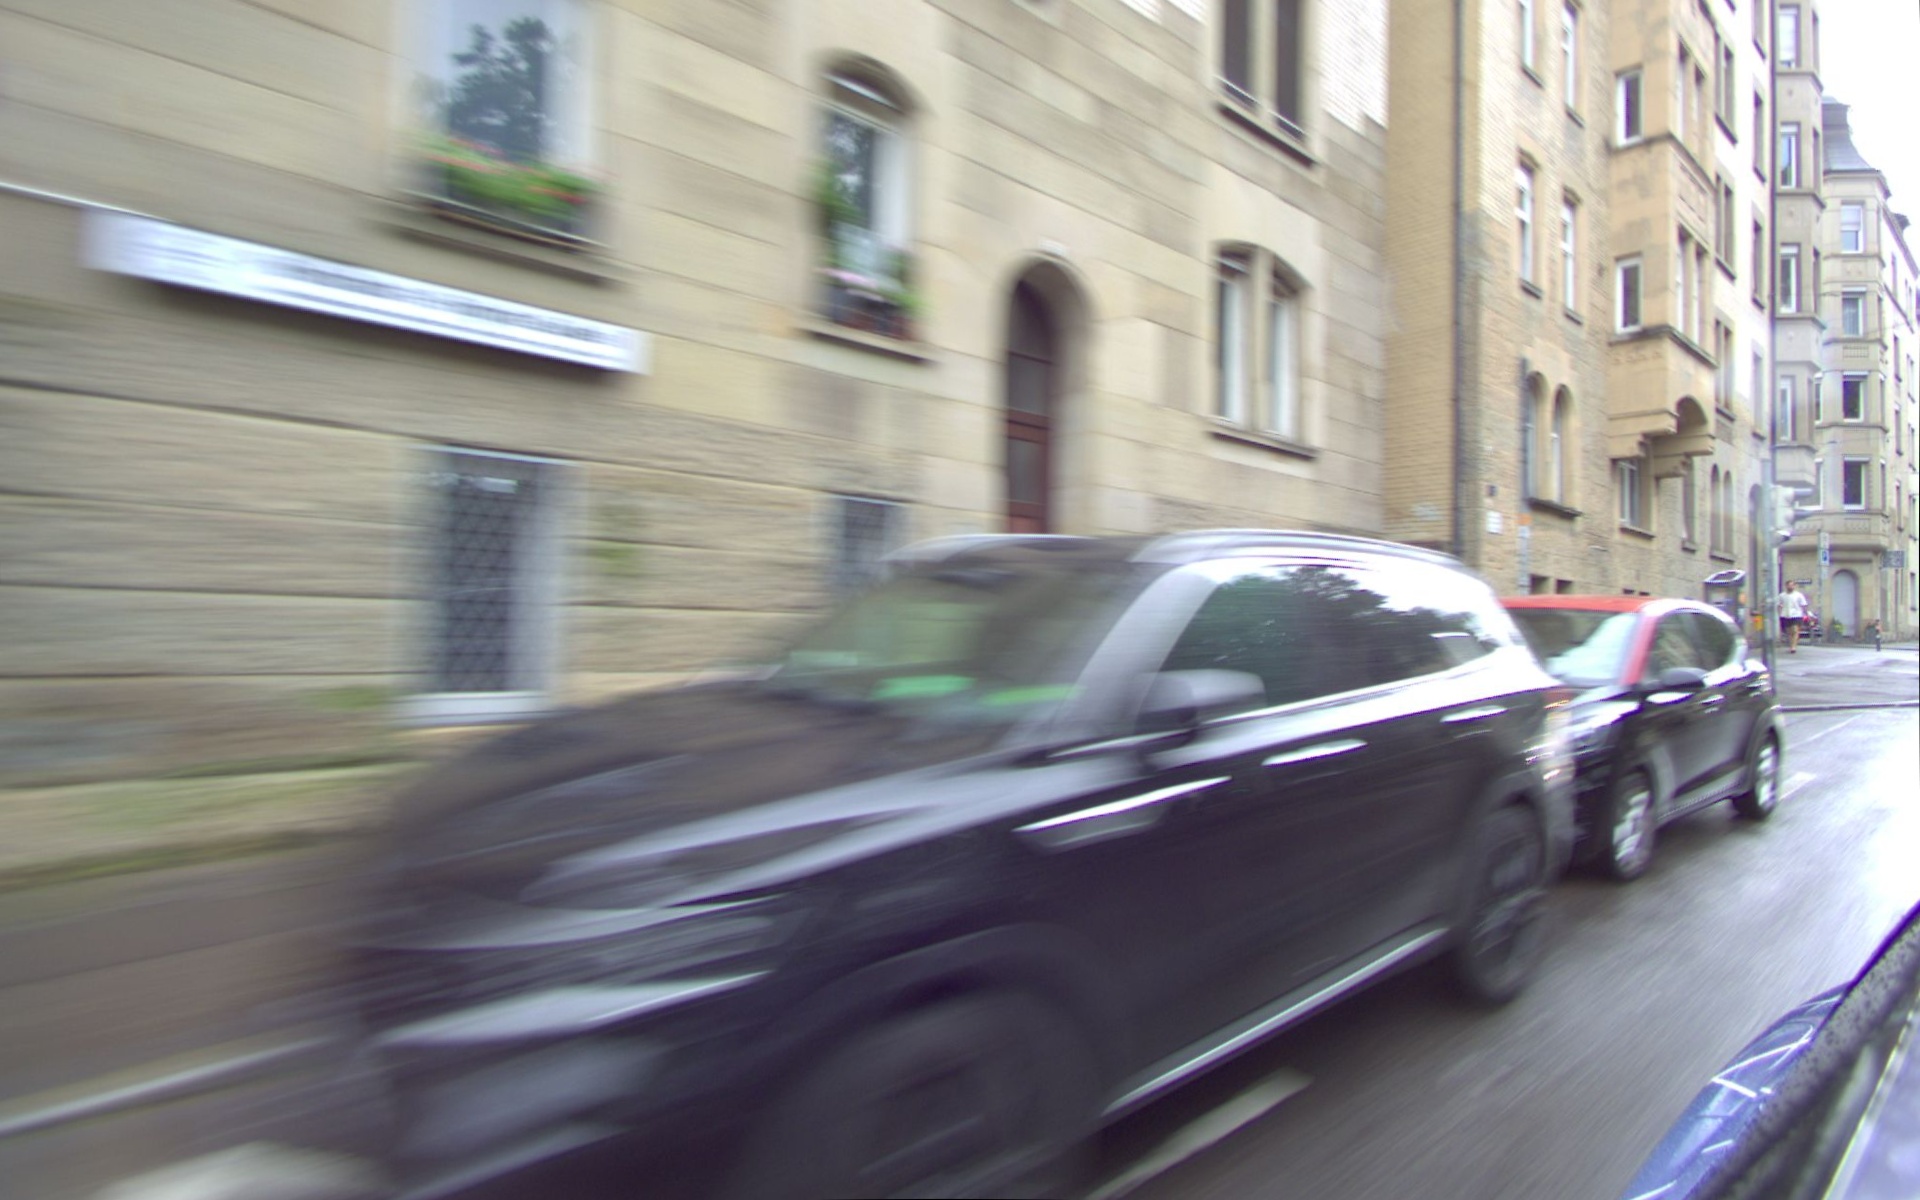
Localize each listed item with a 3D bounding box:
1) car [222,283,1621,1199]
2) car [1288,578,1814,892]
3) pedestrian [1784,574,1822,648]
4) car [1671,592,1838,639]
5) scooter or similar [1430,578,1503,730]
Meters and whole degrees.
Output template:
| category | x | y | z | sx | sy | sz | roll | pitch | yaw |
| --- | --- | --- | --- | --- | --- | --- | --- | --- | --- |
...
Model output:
| category | x | y | z | sx | sy | sz | roll | pitch | yaw |
| --- | --- | --- | --- | --- | --- | --- | --- | --- | --- |
| car | 0.384 | 0.483 | 3.300 | 4.419 | 1.730 | 1.769 | 0 | 0 | -40 |
| car | 3.888 | 0.635 | 6.487 | 3.542 | 1.471 | 1.666 | 0 | -1 | -37 |
| pedestrian | 20.339 | 0.262 | 24.425 | 0.564 | 1.774 | 0.580 | 2 | -1 | -40 |
| car | 28.998 | 0.534 | 37.069 | 1.746 | 1.518 | 4.508 | 3 | -1 | -38 |
| scooter or similar | 4.976 | 0.474 | 9.905 | 0.365 | 1.331 | 1.548 | 2 | 3 | 36 |
